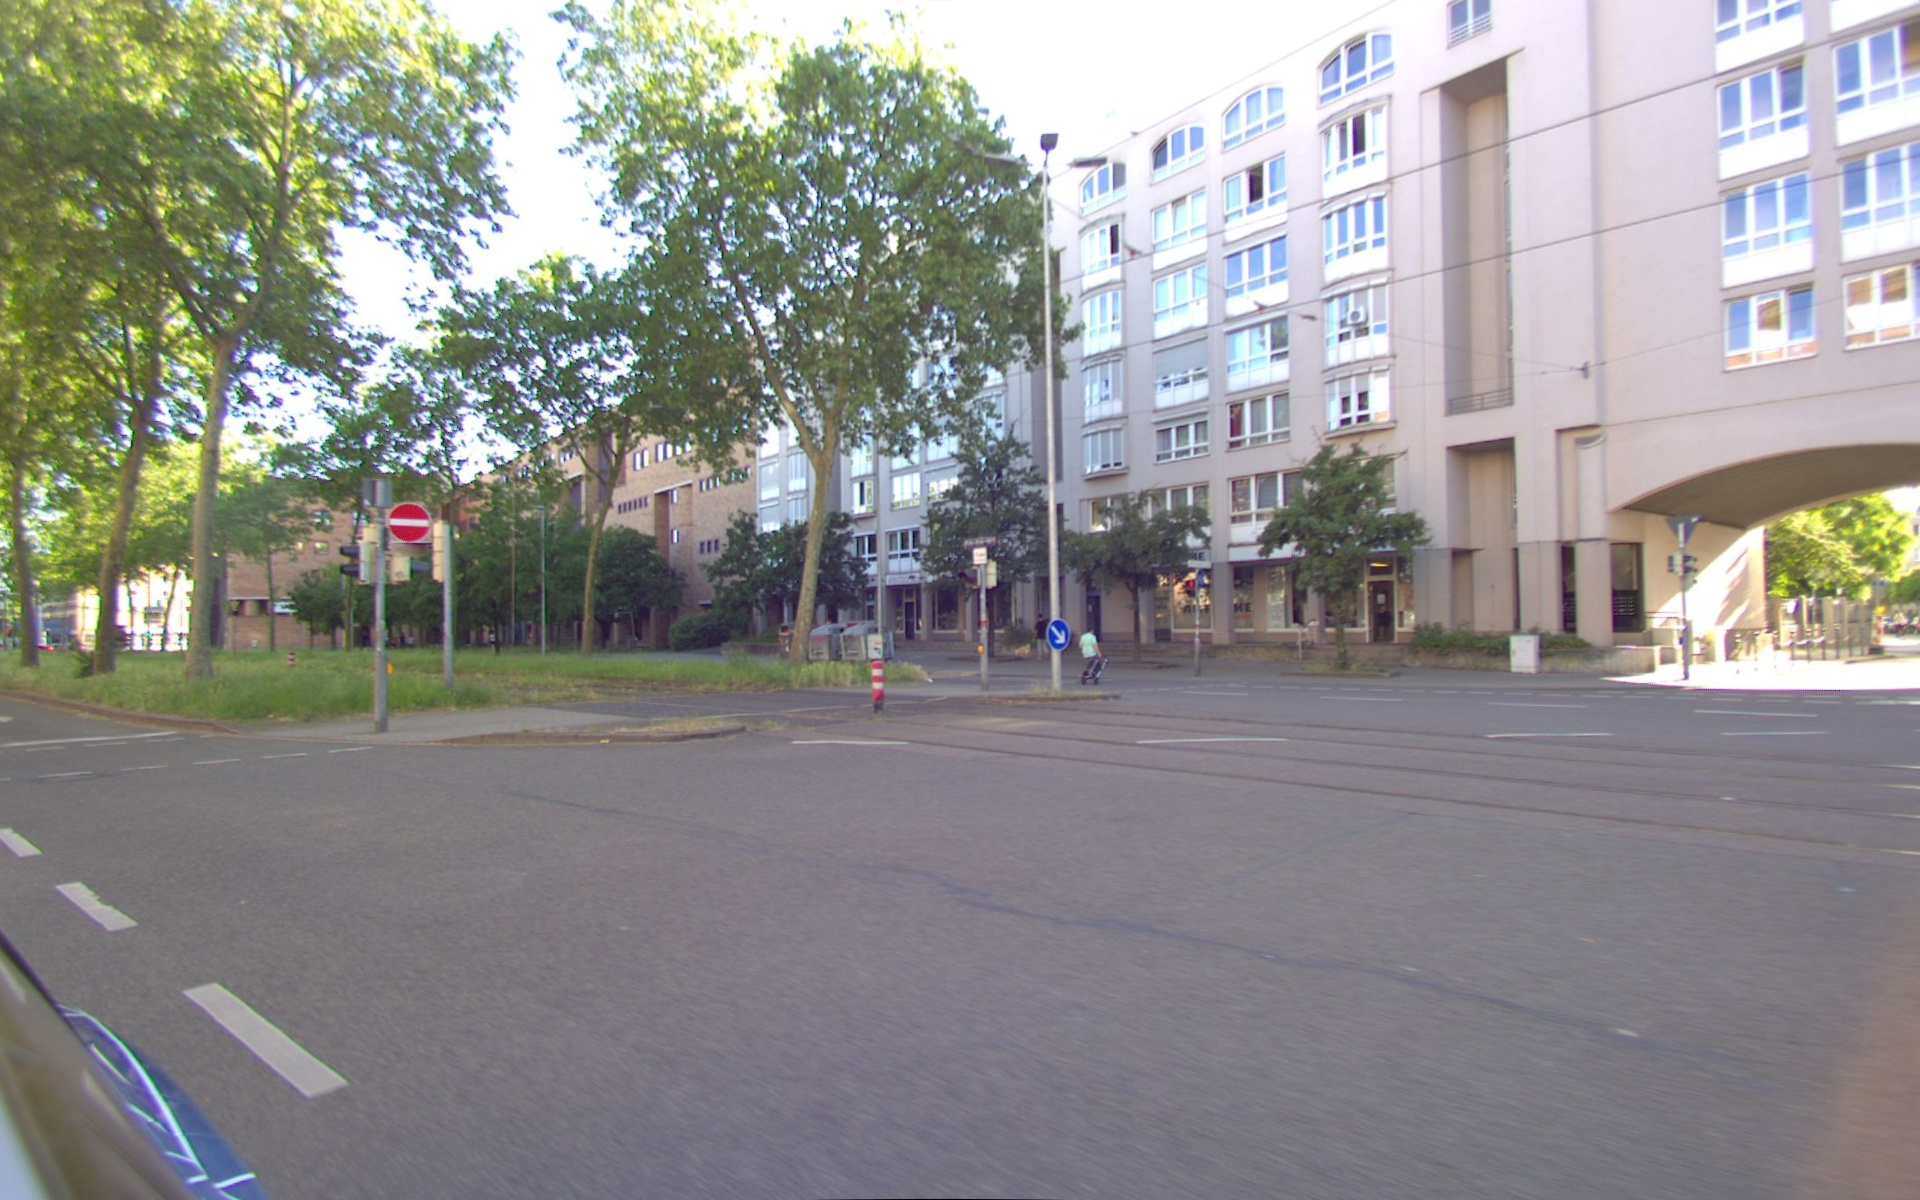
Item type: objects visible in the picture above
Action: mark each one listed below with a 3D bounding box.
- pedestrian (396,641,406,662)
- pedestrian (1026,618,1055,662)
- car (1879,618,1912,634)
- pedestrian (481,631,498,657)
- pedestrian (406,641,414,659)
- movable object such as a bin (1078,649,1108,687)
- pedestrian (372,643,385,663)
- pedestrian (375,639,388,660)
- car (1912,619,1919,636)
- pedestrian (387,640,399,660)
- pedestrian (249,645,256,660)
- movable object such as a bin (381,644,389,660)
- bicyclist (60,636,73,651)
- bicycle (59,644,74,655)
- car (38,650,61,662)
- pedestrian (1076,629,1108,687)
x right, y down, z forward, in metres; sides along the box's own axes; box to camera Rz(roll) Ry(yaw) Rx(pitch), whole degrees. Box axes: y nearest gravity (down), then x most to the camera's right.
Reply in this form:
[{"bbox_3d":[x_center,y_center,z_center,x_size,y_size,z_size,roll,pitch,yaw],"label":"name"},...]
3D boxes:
[{"bbox_3d":[-46.665,4.300,84.472,0.595,1.692,0.604,-3,-3,40],"label":"pedestrian"},{"bbox_3d":[3.095,1.530,38.890,0.698,1.651,0.790,0,-2,-38],"label":"pedestrian"},{"bbox_3d":[83.186,2.289,90.021,1.683,1.406,3.609,-2,-2,37],"label":"car"},{"bbox_3d":[-34.002,3.194,73.184,0.901,1.845,0.815,-3,-3,42],"label":"pedestrian"},{"bbox_3d":[-46.028,4.159,84.643,0.463,1.517,0.478,-3,-3,41],"label":"pedestrian"},{"bbox_3d":[3.455,1.761,26.255,0.503,0.960,0.541,0,-2,-36],"label":"movable object such as a bin"},{"bbox_3d":[-48.605,4.425,84.586,0.756,1.629,0.657,-3,-3,40],"label":"pedestrian"},{"bbox_3d":[-47.738,4.098,83.537,0.796,1.735,0.657,-3,-3,40],"label":"pedestrian"},{"bbox_3d":[80.105,2.269,83.556,1.683,1.406,3.609,-2,-2,37],"label":"car"},{"bbox_3d":[-47.124,4.135,84.091,0.756,1.629,0.657,-3,-3,40],"label":"pedestrian"},{"bbox_3d":[-75.181,5.593,107.542,0.651,1.555,0.413,-3,-2,34],"label":"pedestrian"},{"bbox_3d":[-47.173,4.291,82.973,0.756,1.289,0.352,-3,-3,41],"label":"movable object such as a bin"},{"bbox_3d":[-98.588,4.786,111.655,1.209,1.583,0.931,-3,-3,41],"label":"bicyclist"},{"bbox_3d":[-98.637,5.432,111.678,2.435,1.134,0.946,-2,-2,42],"label":"bicycle"},{"bbox_3d":[-118.336,7.321,131.497,4.146,1.440,1.654,-3,-3,40],"label":"car"},{"bbox_3d":[3.528,1.531,26.969,0.610,1.515,0.535,0,-2,-39],"label":"pedestrian"}]
